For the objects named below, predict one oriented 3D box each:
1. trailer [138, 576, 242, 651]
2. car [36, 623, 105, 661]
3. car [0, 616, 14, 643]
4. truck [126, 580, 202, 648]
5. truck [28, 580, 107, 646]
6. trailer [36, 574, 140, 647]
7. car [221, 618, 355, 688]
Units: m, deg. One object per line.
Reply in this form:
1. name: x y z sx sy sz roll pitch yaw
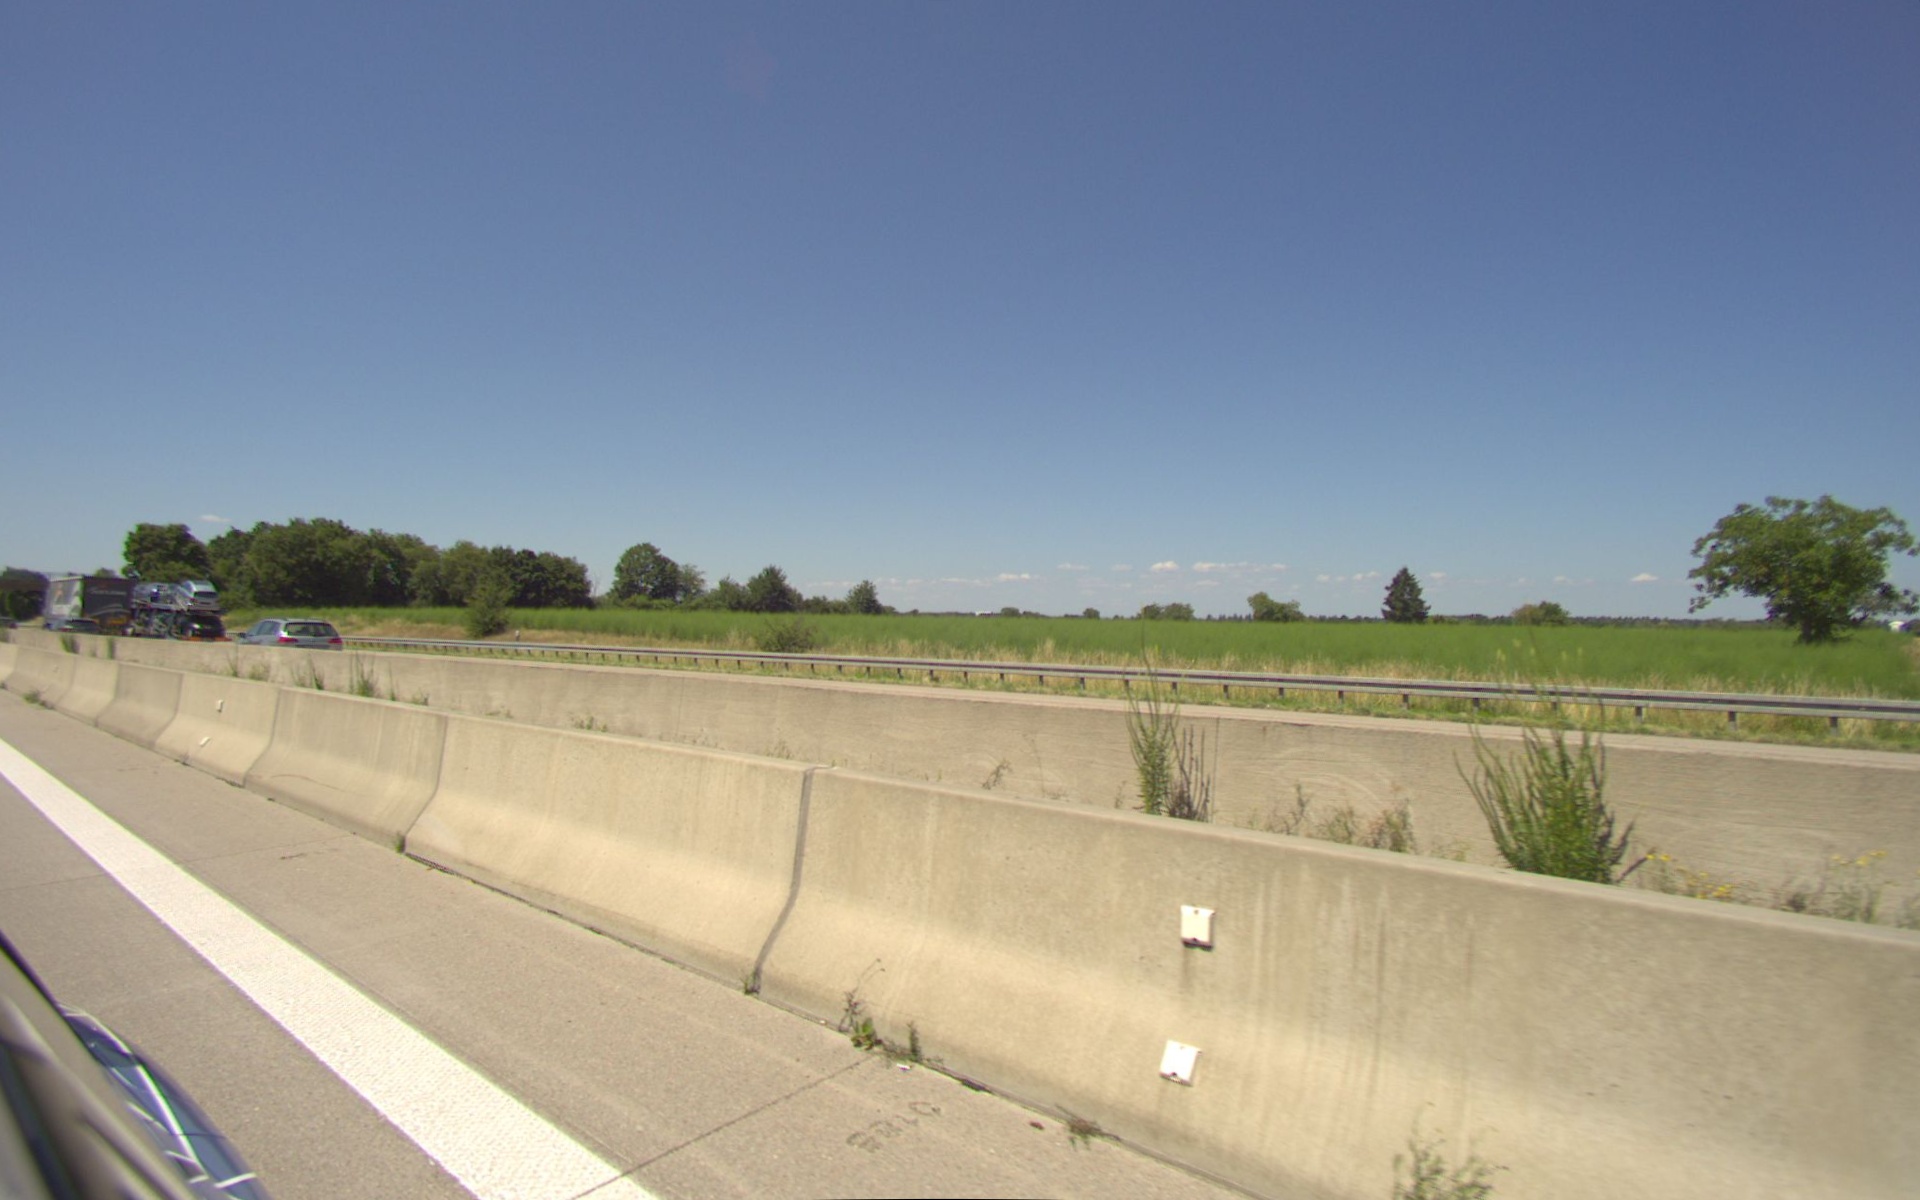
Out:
1. trailer: -51.602 0.899 67.630 12.287 4.641 3.198 -1 0 41
2. car: -42.517 1.976 48.338 4.931 1.663 1.885 -1 0 41
3. car: -67.526 2.040 70.491 4.741 1.796 1.973 -1 0 41
4. truck: -56.887 0.954 72.291 6.247 4.641 3.198 -1 0 41
5. truck: -64.382 0.986 72.944 7.186 4.510 3.233 -1 -3 41
6. trailer: -59.257 0.783 68.538 14.444 4.510 3.233 -1 -3 41
7. car: -18.261 1.351 27.414 4.680 1.708 1.862 -1 0 41
